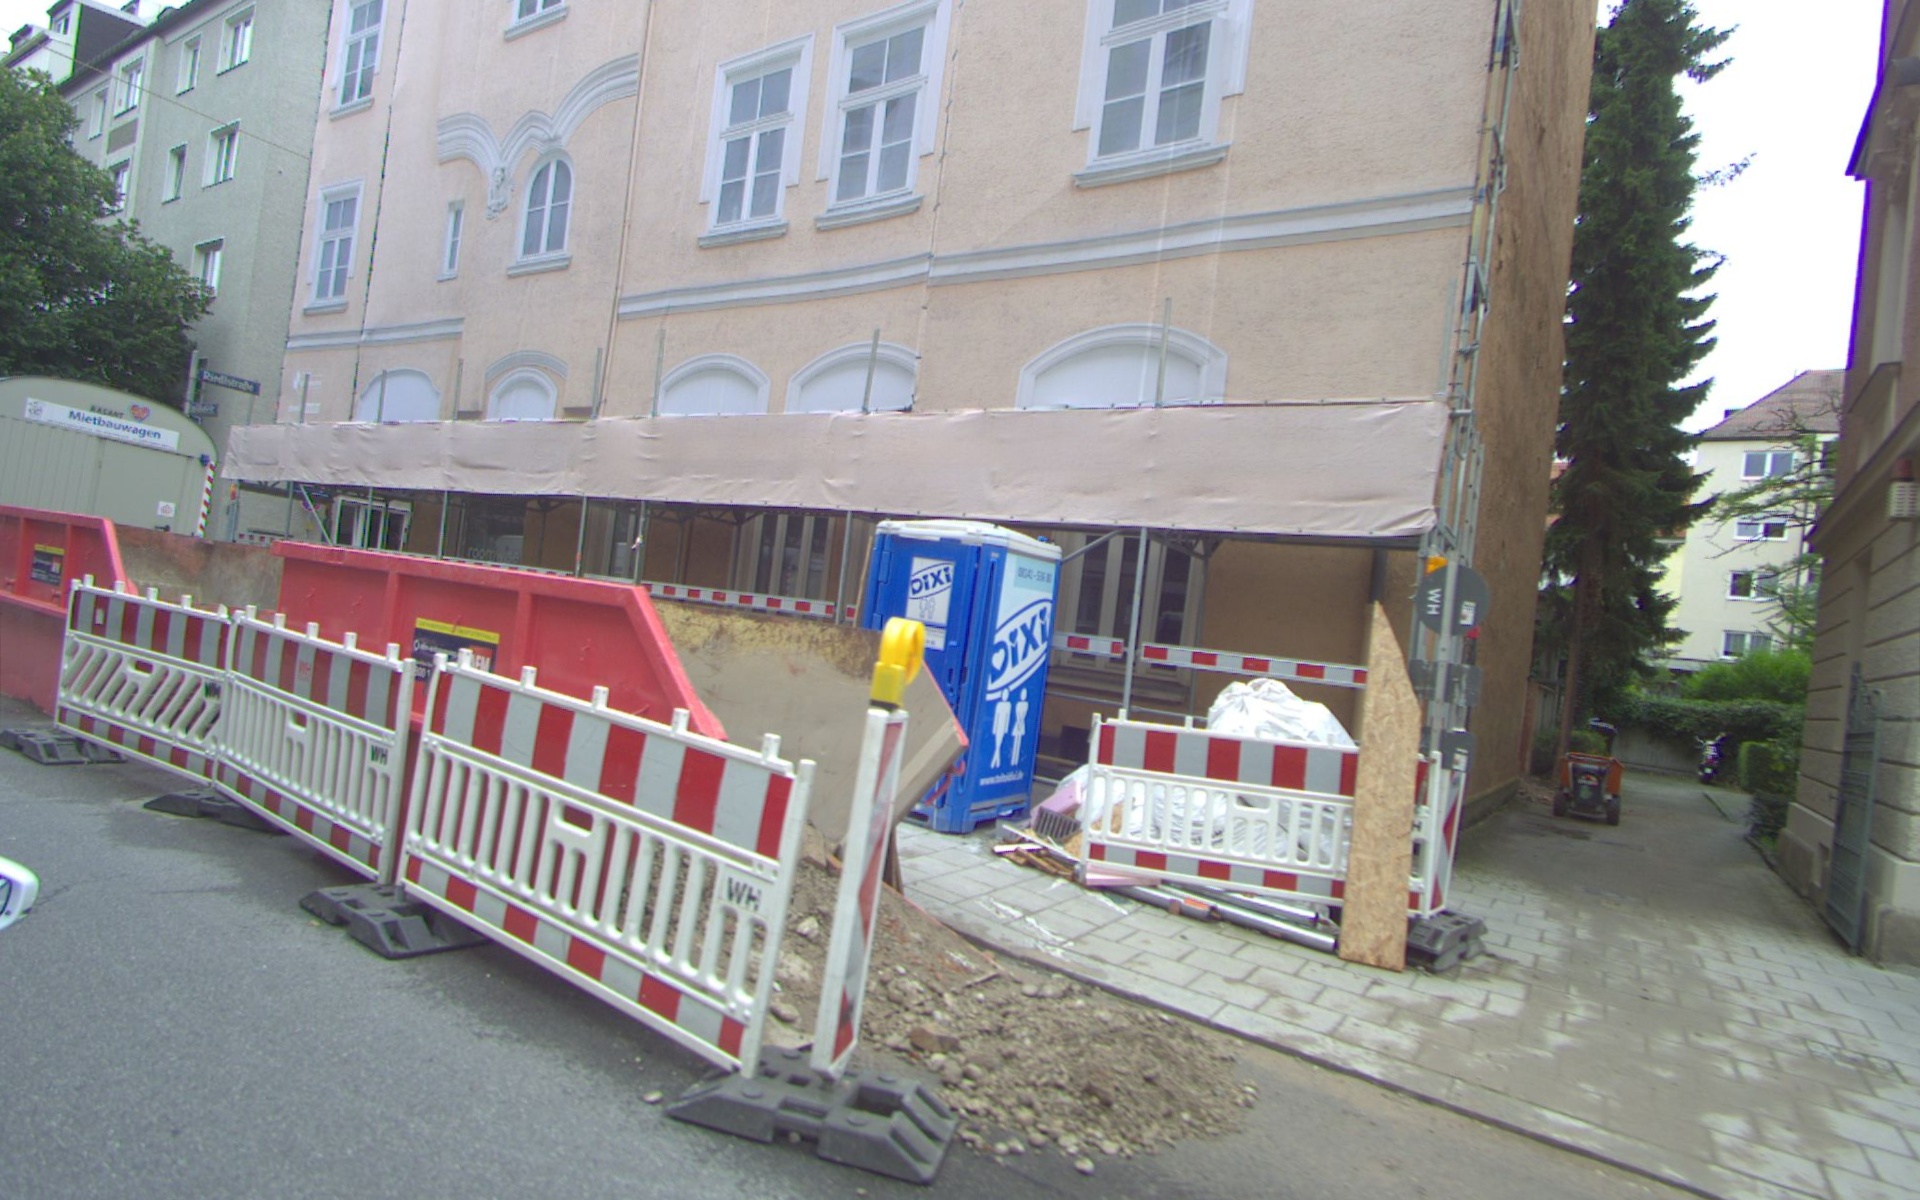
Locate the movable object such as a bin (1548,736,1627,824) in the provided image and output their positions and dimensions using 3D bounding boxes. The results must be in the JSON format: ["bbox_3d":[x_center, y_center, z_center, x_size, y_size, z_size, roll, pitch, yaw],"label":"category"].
[{"bbox_3d":[9.581,2.713,15.337,0.819,1.123,1.245,7,-1,37],"label":"movable object such as a bin"}]

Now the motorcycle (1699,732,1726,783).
[{"bbox_3d":[19.858,4.134,26.556,0.429,1.217,1.827,7,-1,36],"label":"motorcycle"}]

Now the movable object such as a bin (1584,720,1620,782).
[{"bbox_3d":[14.841,3.471,23.251,0.545,1.332,0.466,7,0,37],"label":"movable object such as a bin"}]

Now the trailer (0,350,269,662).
[{"bbox_3d":[-11.625,-1.140,12.379,6.790,2.872,2.507,6,-2,33],"label":"trailer"}]
